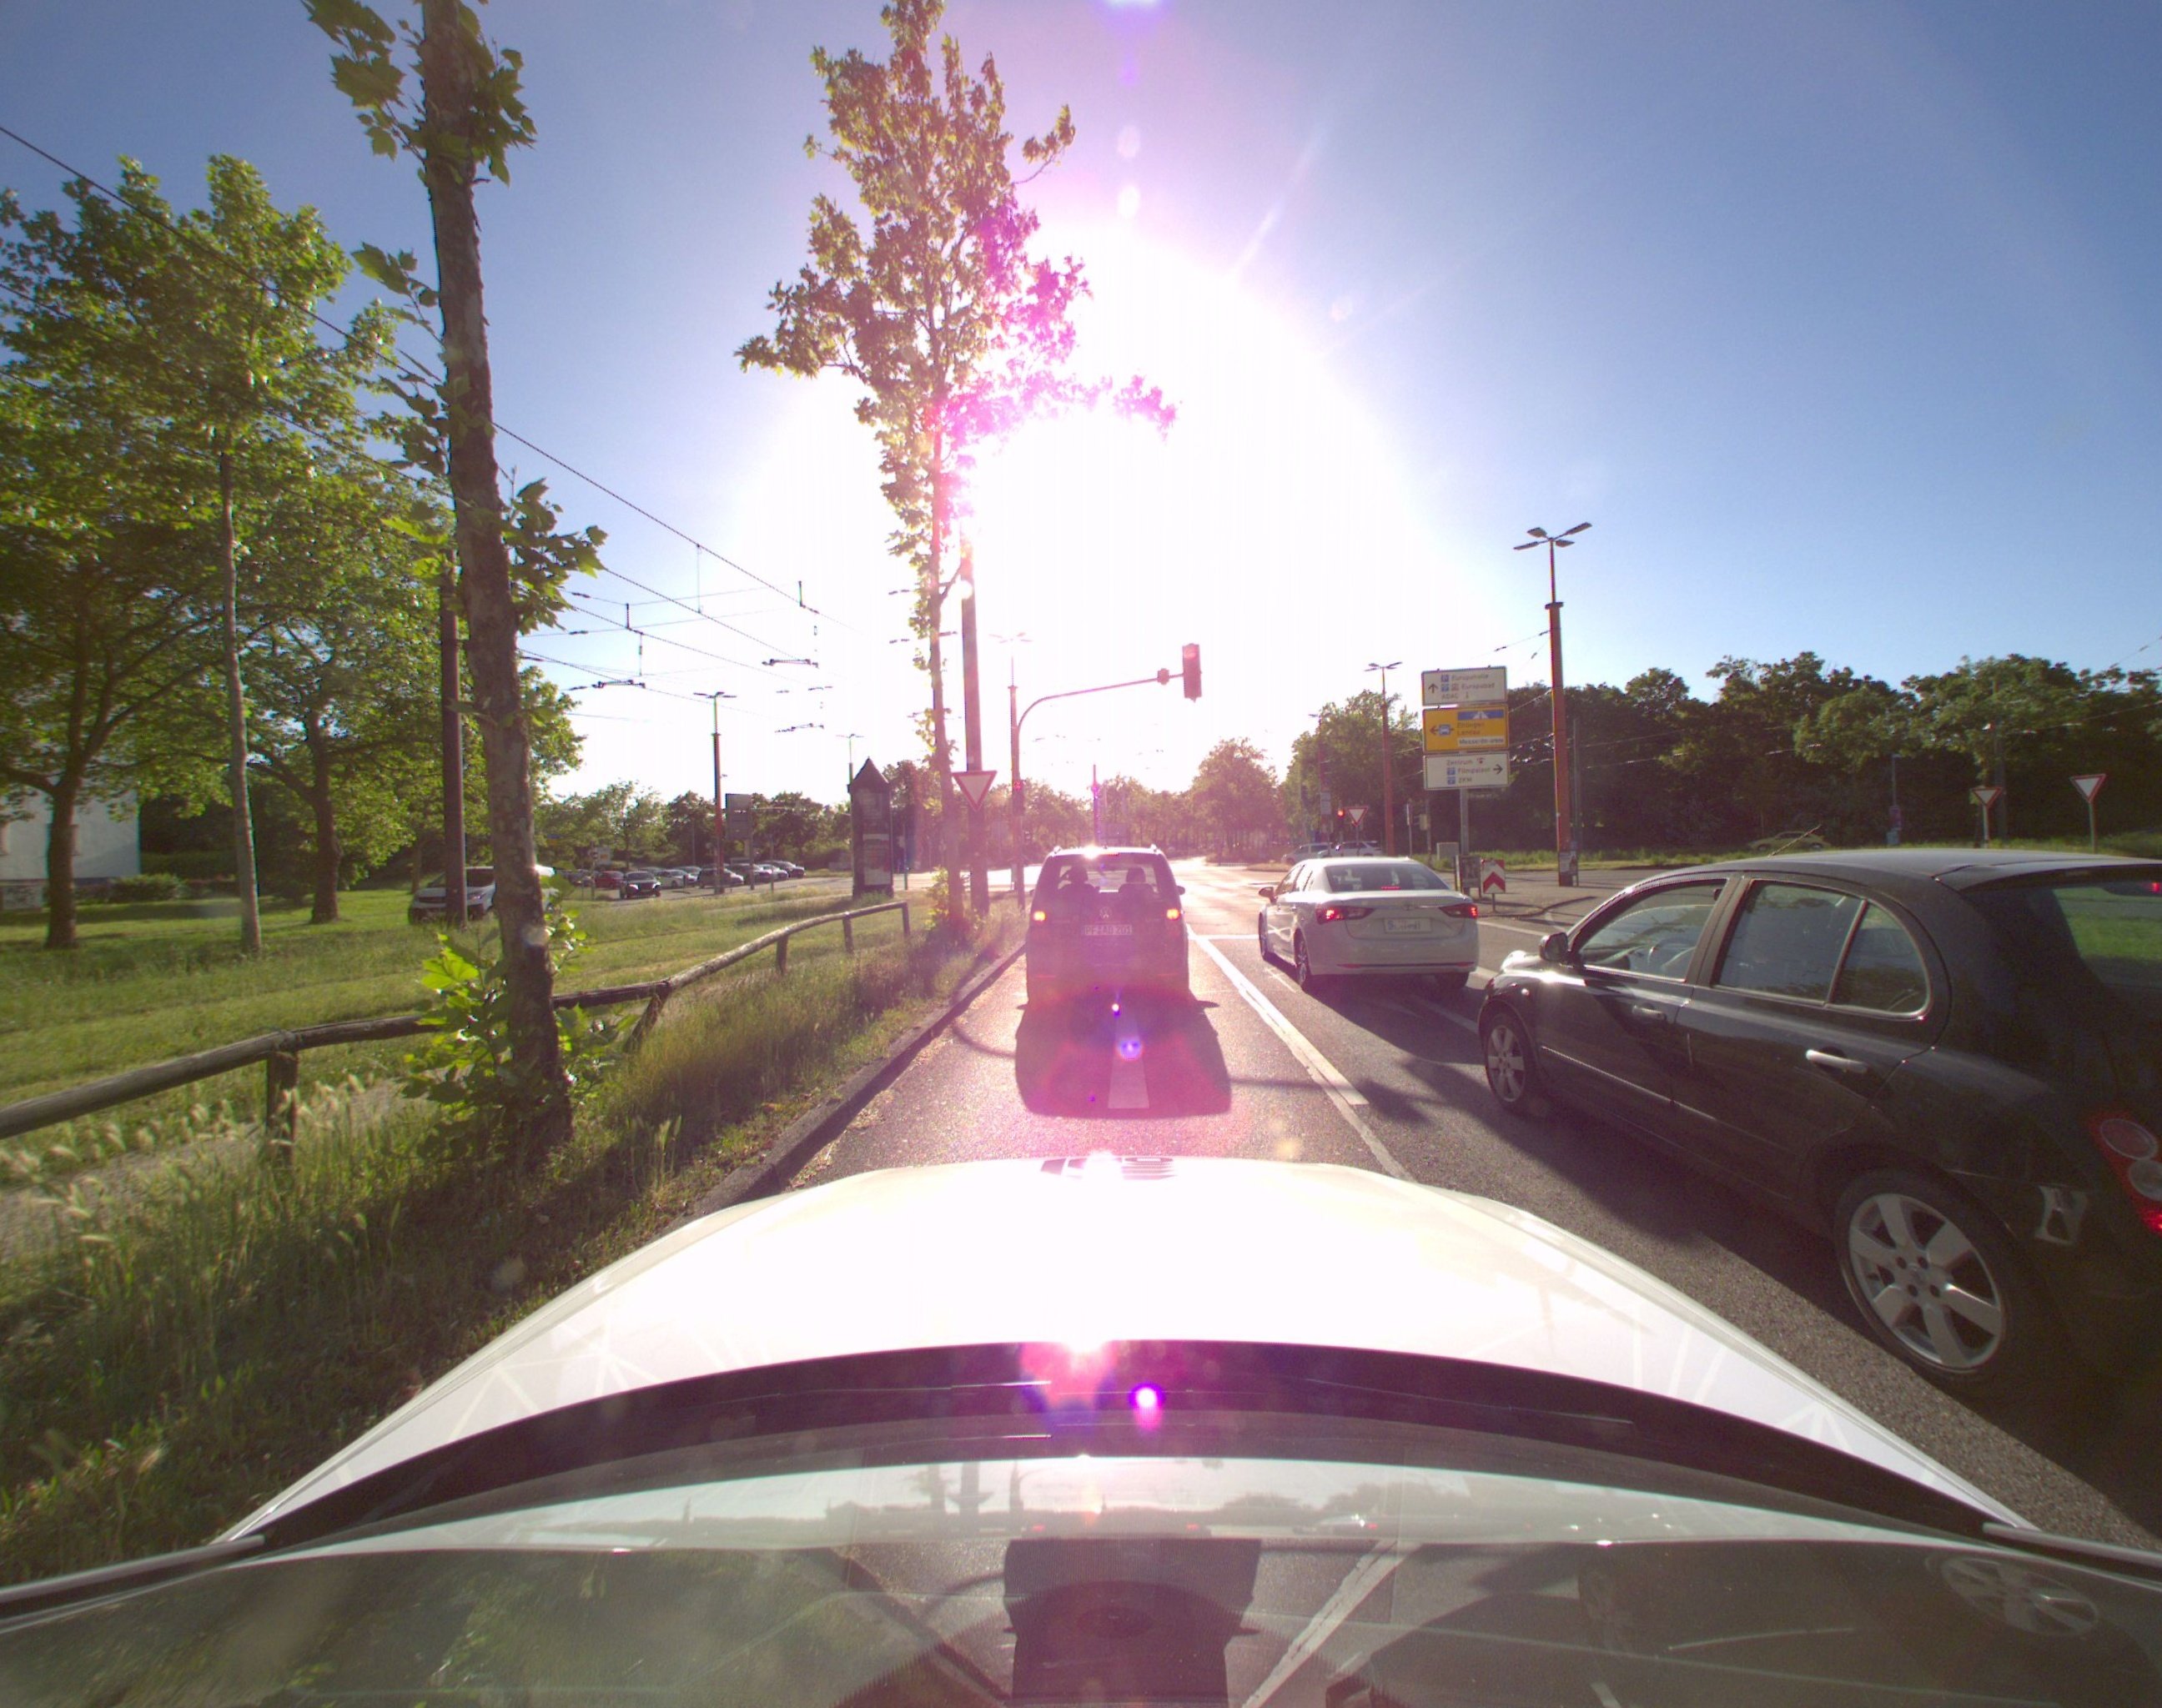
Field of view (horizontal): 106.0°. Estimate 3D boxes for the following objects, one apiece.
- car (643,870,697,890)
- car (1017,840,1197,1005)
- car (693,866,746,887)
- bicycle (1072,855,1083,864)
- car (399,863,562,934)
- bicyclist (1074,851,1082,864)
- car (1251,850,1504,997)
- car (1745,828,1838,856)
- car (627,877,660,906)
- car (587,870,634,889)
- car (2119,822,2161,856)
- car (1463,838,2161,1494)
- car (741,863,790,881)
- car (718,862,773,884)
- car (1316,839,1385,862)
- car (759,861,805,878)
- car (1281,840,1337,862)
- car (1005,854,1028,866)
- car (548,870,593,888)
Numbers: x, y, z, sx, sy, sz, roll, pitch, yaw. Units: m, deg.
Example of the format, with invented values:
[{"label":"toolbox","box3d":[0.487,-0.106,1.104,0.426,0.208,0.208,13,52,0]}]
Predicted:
[{"label":"car","box3d":[-32.669,2.074,64.738,4.577,1.520,1.667,-1,0,32]},{"label":"car","box3d":[0.363,0.687,10.090,1.731,1.602,4.329,0,-1,3]},{"label":"car","box3d":[-27.335,1.695,61.574,3.793,1.441,1.667,-1,0,29]},{"label":"bicycle","box3d":[-0.495,0.890,127.311,0.970,1.388,2.990,-2,0,13]},{"label":"car","box3d":[-17.868,1.227,24.592,1.826,1.821,4.888,-1,0,-8]},{"label":"bicyclist","box3d":[-0.494,0.537,127.353,0.970,1.904,1.054,-2,0,12]},{"label":"car","box3d":[3.370,0.706,10.195,1.792,1.440,4.329,0,-1,3]},{"label":"car","box3d":[44.671,-0.741,51.314,4.164,1.681,1.667,-1,0,28]},{"label":"car","box3d":[-27.431,2.332,51.141,1.660,1.618,4.257,-1,0,-26]},{"label":"car","box3d":[-39.446,2.150,68.256,4.145,1.520,1.667,-1,0,32]},{"label":"car","box3d":[55.795,-0.788,40.928,4.163,1.681,1.667,-1,0,29]},{"label":"car","box3d":[3.177,0.692,3.496,1.570,1.440,3.443,0,-1,2]},{"label":"car","box3d":[-26.838,1.524,69.192,4.102,1.415,1.553,-1,0,28]},{"label":"car","box3d":[-26.931,1.516,65.356,4.583,1.647,1.667,-1,0,32]},{"label":"car","box3d":[20.218,-0.284,61.122,4.616,1.625,1.667,-1,0,28]},{"label":"car","box3d":[-26.735,1.382,72.817,4.102,1.415,1.553,-1,0,28]},{"label":"car","box3d":[18.388,-0.241,65.808,4.080,1.750,1.667,-1,0,27]},{"label":"car","box3d":[-8.556,0.793,108.668,1.638,1.403,4.150,-1,0,17]},{"label":"car","box3d":[-45.084,2.221,71.906,4.145,1.520,1.667,-1,0,32]}]
